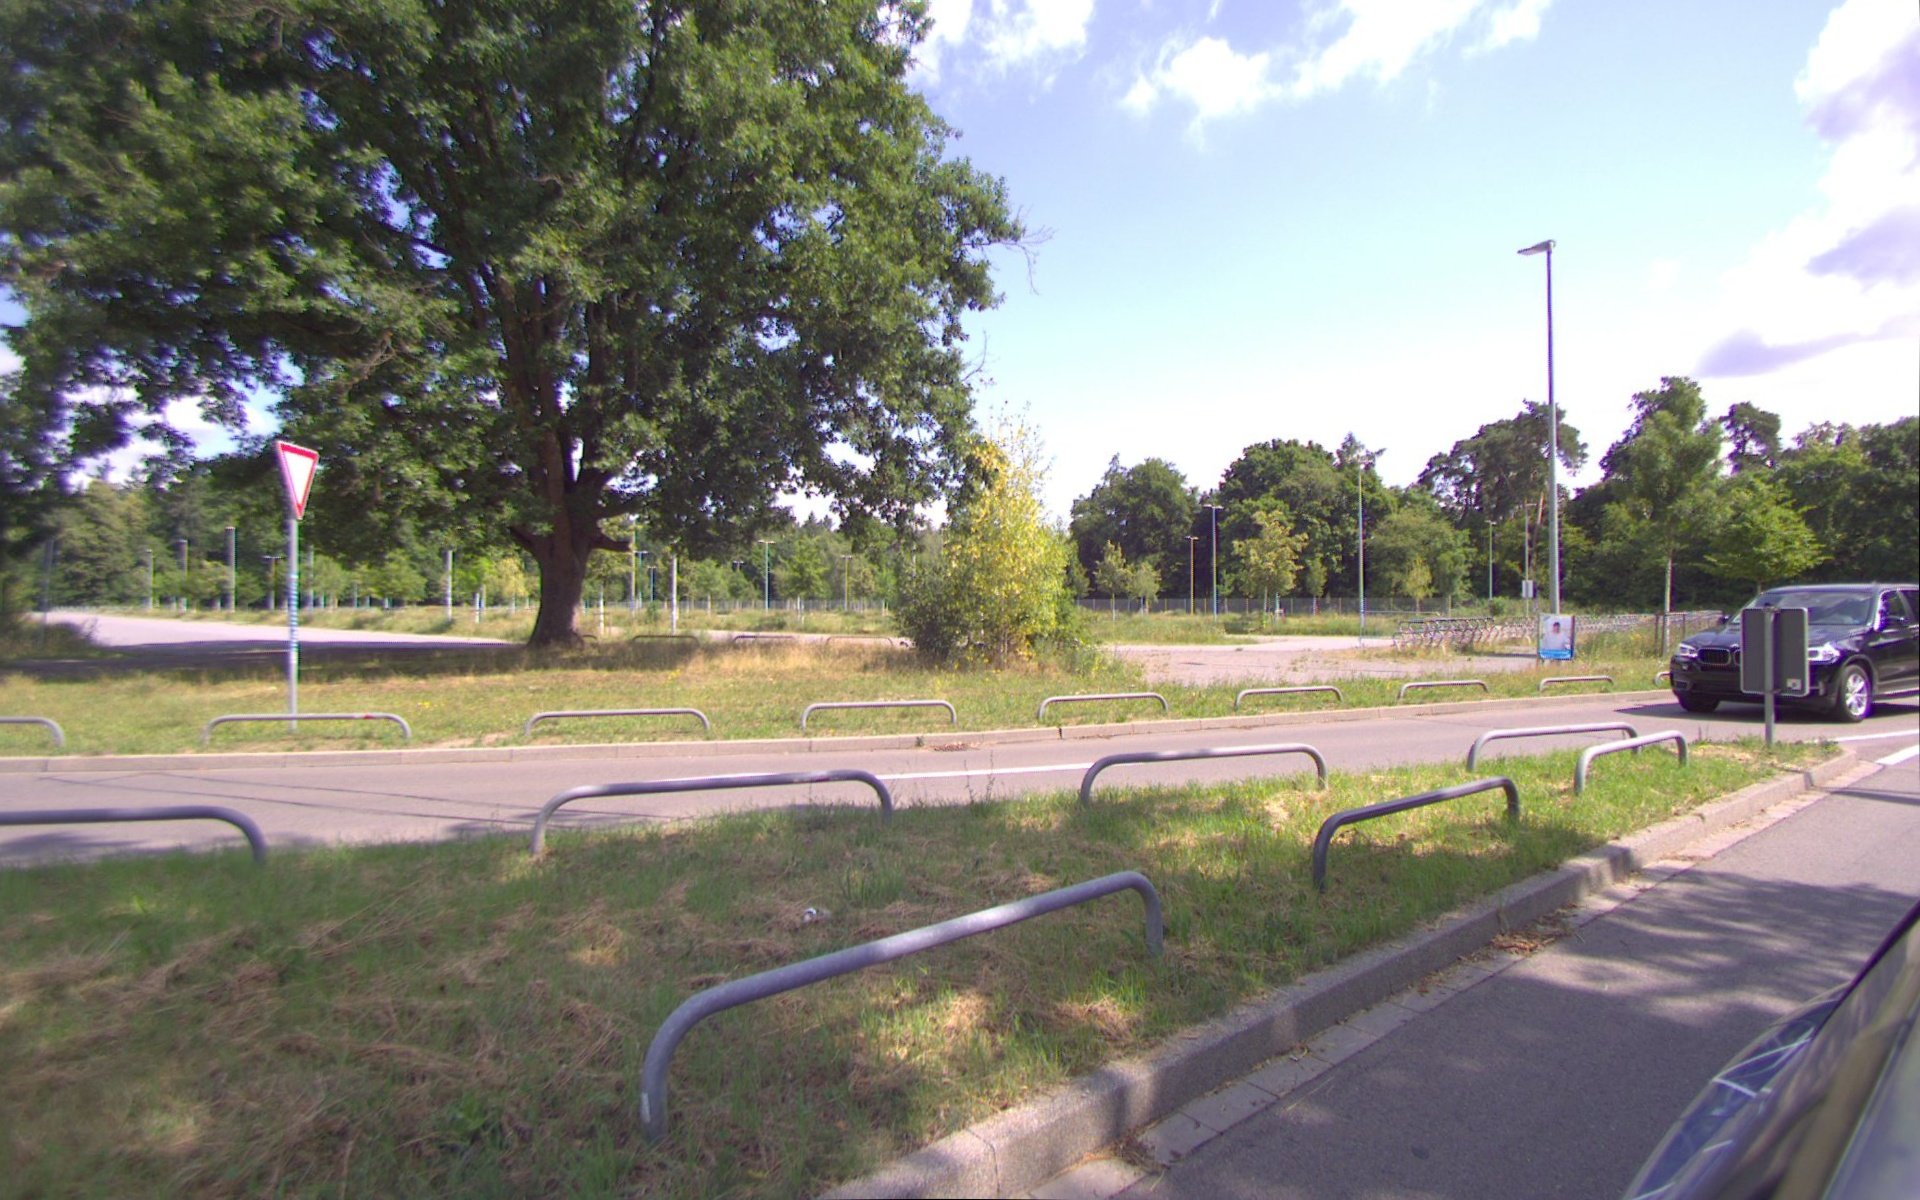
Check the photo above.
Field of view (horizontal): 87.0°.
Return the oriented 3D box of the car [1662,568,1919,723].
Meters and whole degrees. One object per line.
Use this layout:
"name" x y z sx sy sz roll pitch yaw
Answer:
"car" 11.892 0.490 13.667 4.611 1.787 1.984 -1 0 -27
